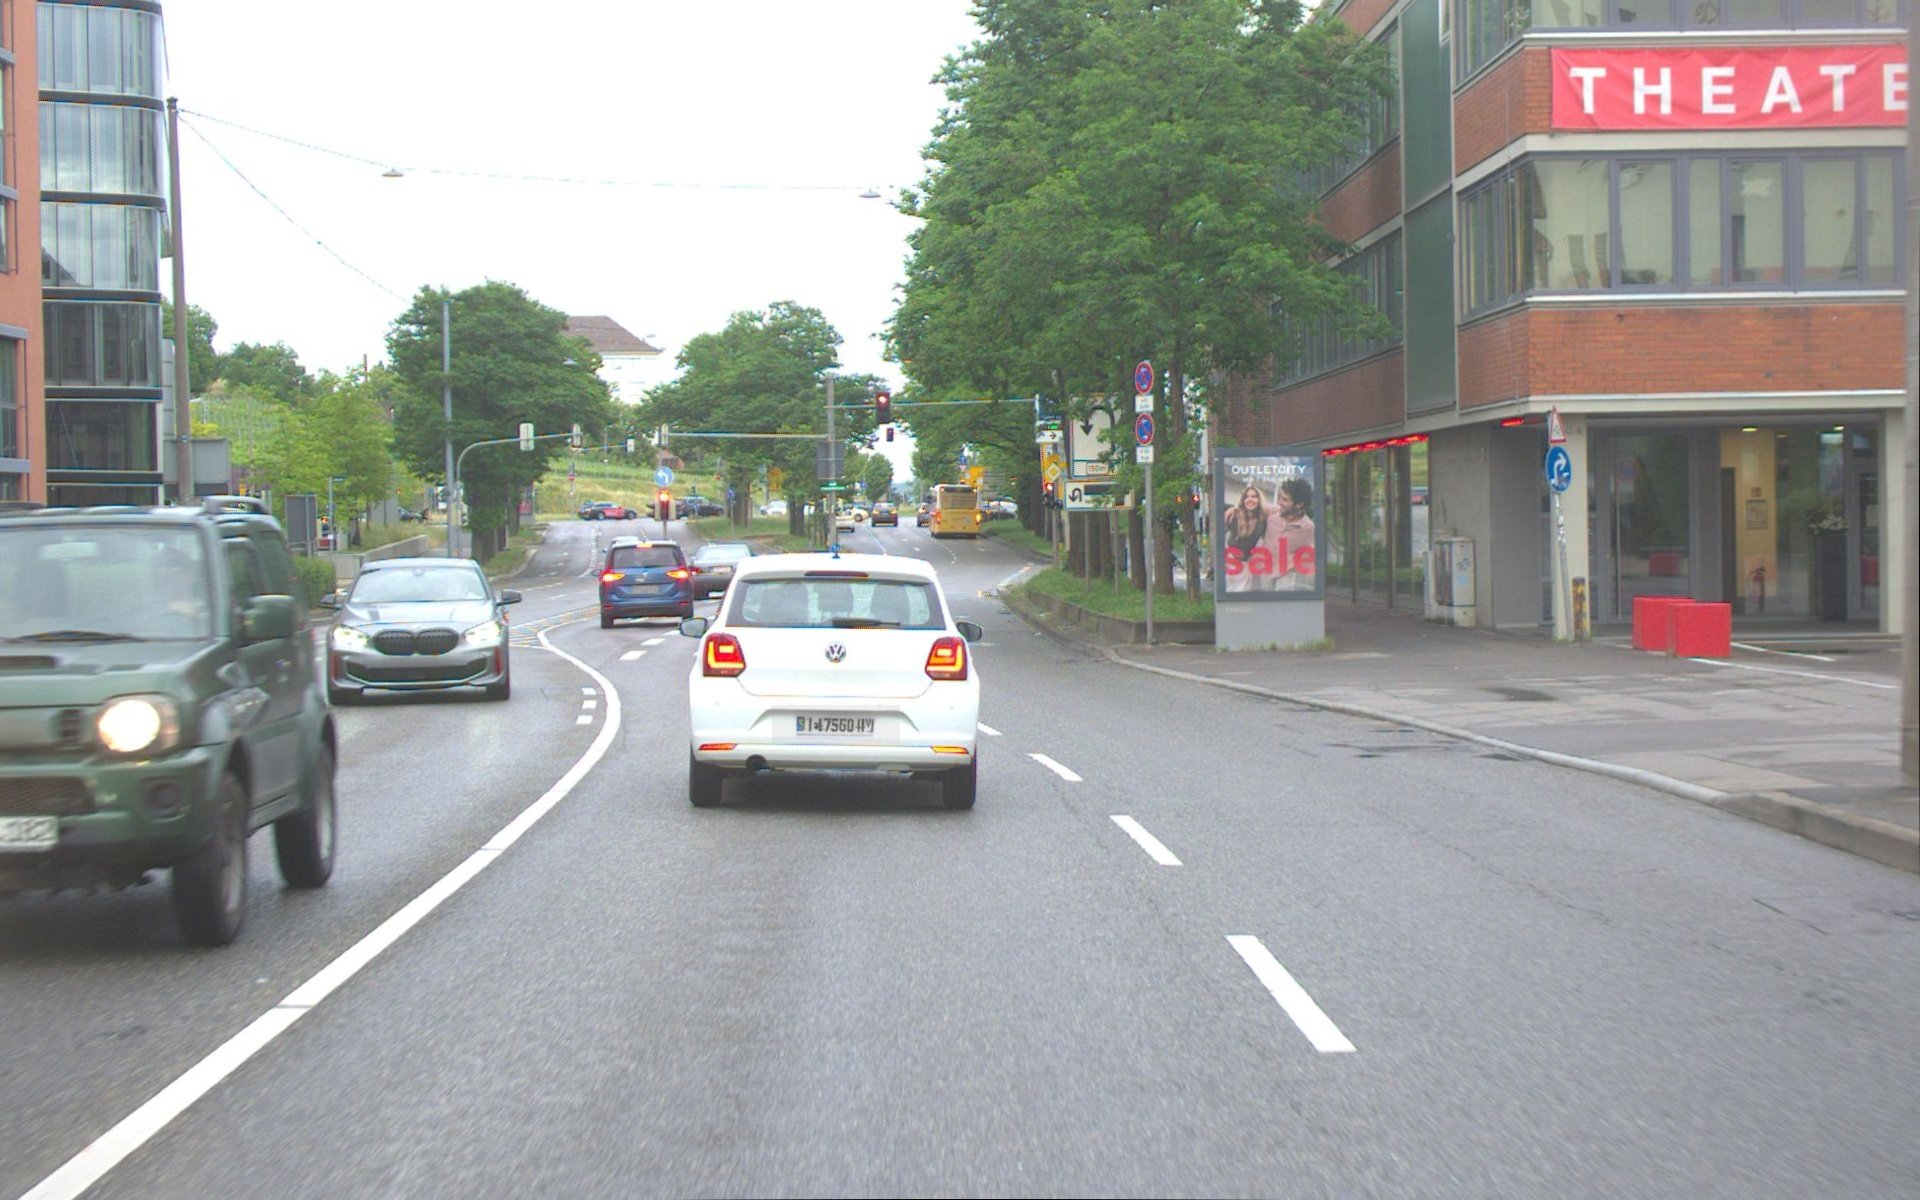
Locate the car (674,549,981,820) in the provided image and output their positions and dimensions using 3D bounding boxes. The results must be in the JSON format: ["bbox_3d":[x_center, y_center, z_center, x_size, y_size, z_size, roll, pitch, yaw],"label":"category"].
[{"bbox_3d":[-0.835,0.433,20.784,1.671,1.469,3.780,-1,1,-3],"label":"car"}]

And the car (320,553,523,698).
[{"bbox_3d":[-5.470,0.233,35.284,1.712,1.360,4.001,-1,1,-4],"label":"car"}]

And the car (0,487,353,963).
[{"bbox_3d":[-3.505,0.399,13.921,1.503,1.661,3.420,-1,2,-1],"label":"car"}]

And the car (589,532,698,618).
[{"bbox_3d":[-6.068,-0.497,66.084,1.993,1.568,4.001,-1,1,-5],"label":"car"}]
